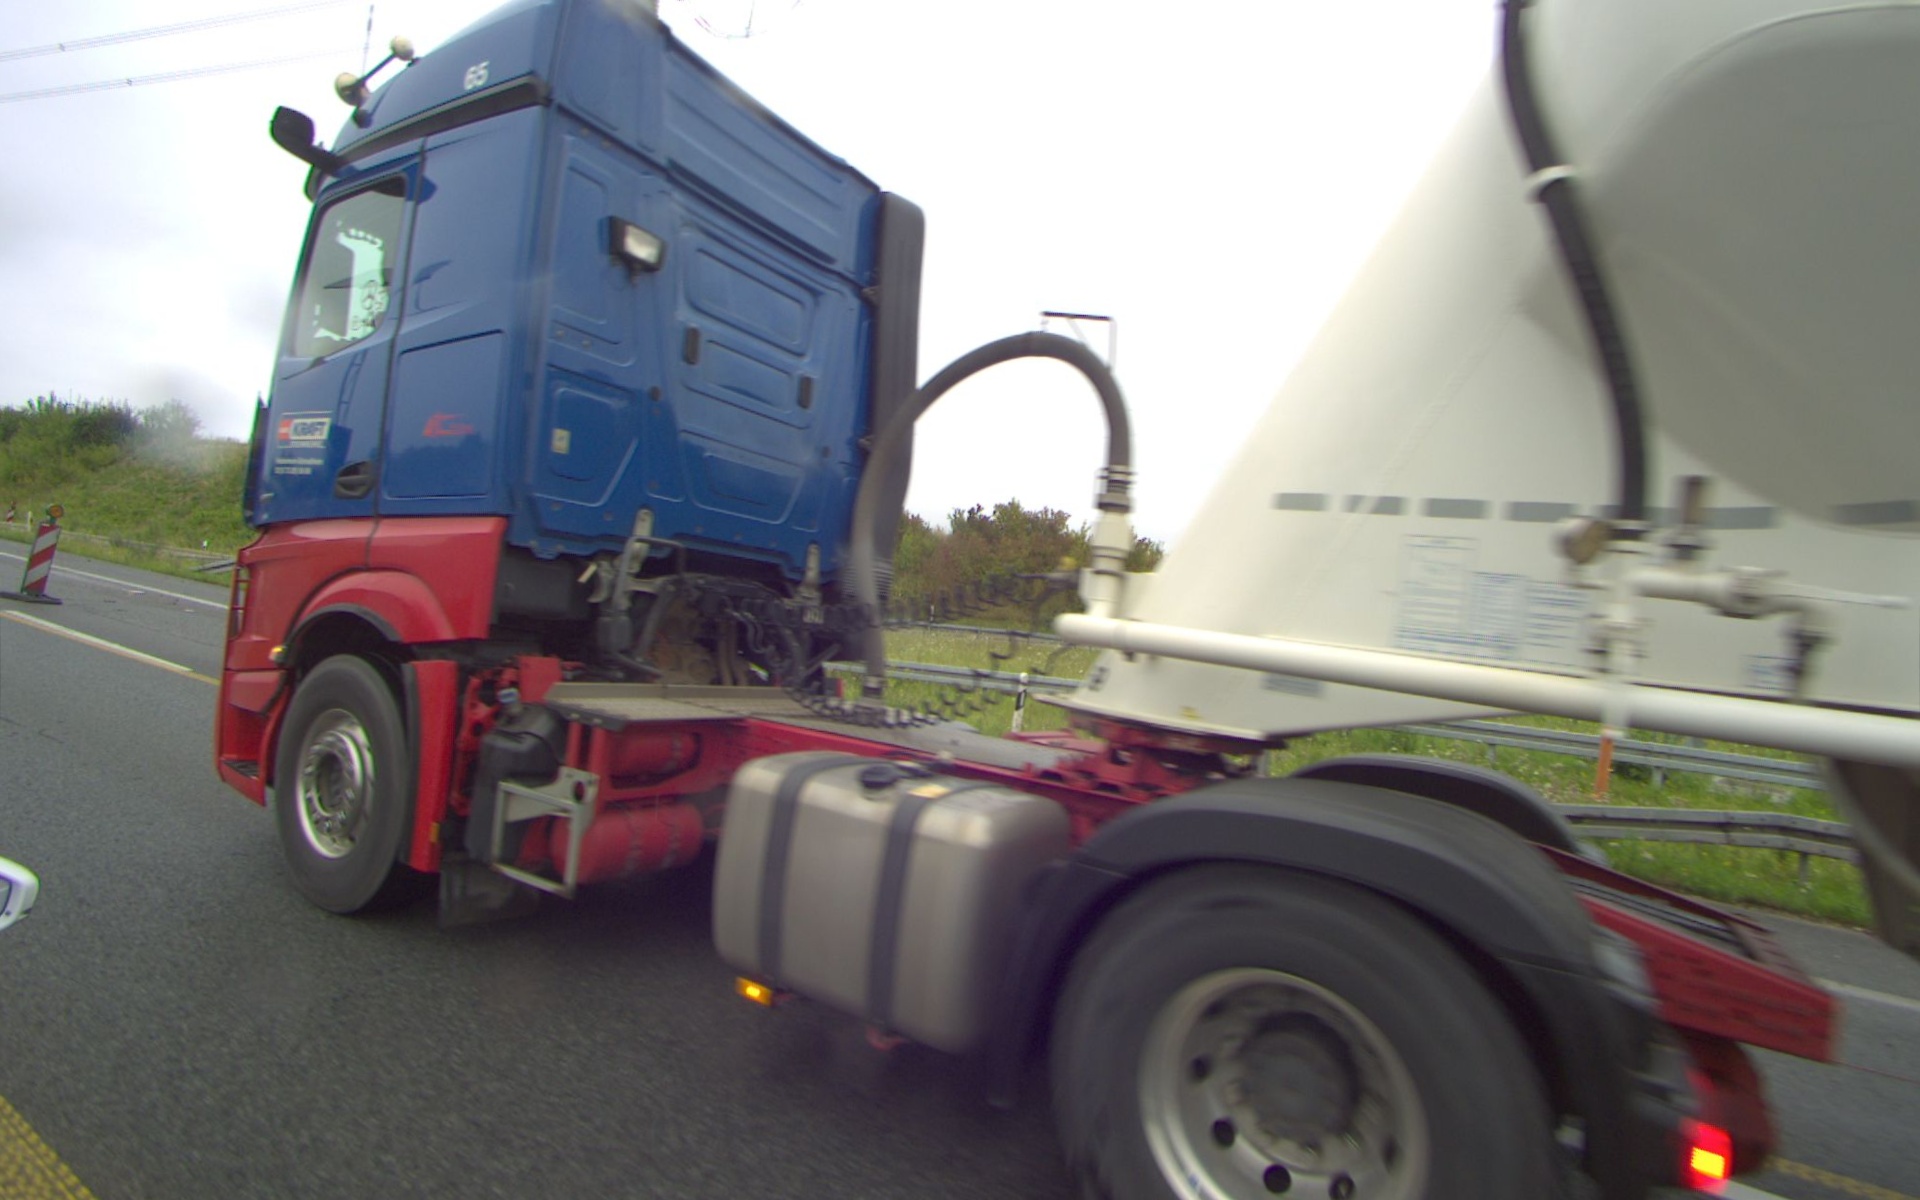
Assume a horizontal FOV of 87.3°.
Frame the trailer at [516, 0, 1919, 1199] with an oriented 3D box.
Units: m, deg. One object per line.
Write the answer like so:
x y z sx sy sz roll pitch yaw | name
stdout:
4.549 -0.102 1.124 12.148 3.878 2.524 6 -2 32 | trailer

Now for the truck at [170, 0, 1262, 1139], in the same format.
-1.113 -0.663 4.706 3.935 3.993 2.552 6 -1 32 | truck
